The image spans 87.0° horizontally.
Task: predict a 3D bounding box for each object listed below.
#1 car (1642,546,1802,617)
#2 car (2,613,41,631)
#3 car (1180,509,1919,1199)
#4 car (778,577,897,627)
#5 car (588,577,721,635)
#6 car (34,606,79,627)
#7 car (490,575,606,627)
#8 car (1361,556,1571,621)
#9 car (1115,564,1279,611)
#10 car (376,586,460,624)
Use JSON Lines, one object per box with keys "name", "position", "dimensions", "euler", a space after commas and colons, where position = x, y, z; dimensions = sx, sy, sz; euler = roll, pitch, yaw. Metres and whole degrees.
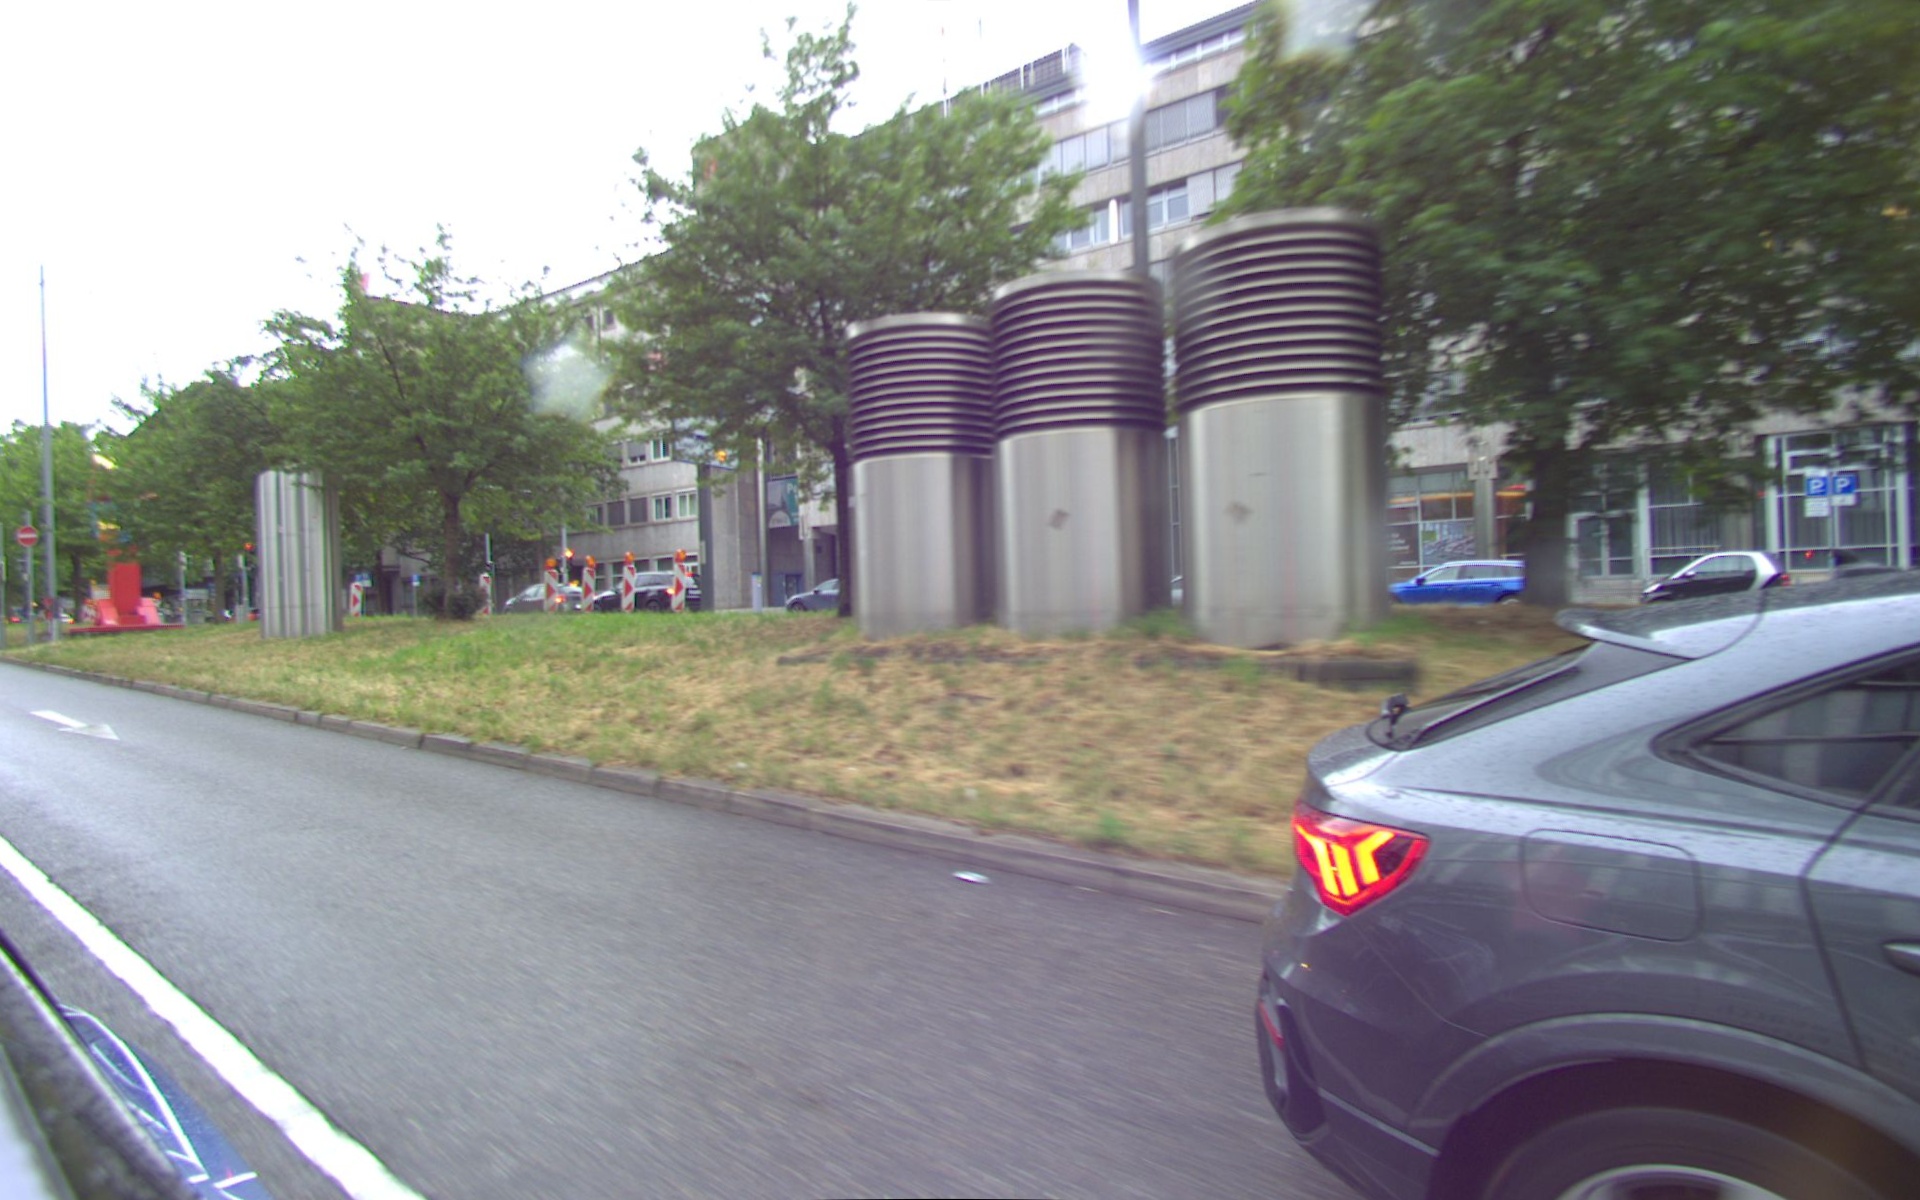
{"name": "car", "position": [16.015, -0.373, 21.350], "dimensions": [2.623, 1.395, 1.228], "euler": [-1, 2, 38]}
{"name": "car", "position": [-89.314, 2.060, 96.267], "dimensions": [4.102, 1.599, 2.048], "euler": [-1, 2, 38]}
{"name": "car", "position": [2.689, 0.620, 1.294], "dimensions": [4.339, 1.529, 1.843], "euler": [-1, 1, 38]}
{"name": "car", "position": [-4.332, 0.077, 35.484], "dimensions": [4.096, 1.592, 1.558], "euler": [-1, 2, 34]}
{"name": "car", "position": [-9.431, 0.180, 31.134], "dimensions": [4.102, 1.592, 1.858], "euler": [-1, 2, 38]}
{"name": "car", "position": [-73.675, 1.355, 82.529], "dimensions": [4.102, 1.599, 2.048], "euler": [-1, 2, 38]}
{"name": "car", "position": [-14.141, 0.037, 34.694], "dimensions": [4.102, 1.592, 1.858], "euler": [-1, 2, 38]}
{"name": "car", "position": [12.027, -0.259, 24.151], "dimensions": [4.309, 1.395, 1.662], "euler": [-1, 2, 34]}
{"name": "car", "position": [6.459, -0.334, 27.724], "dimensions": [4.096, 1.130, 1.558], "euler": [-1, 2, 34]}
{"name": "car", "position": [-24.745, 0.218, 46.194], "dimensions": [4.102, 1.592, 1.858], "euler": [-1, 2, 38]}
